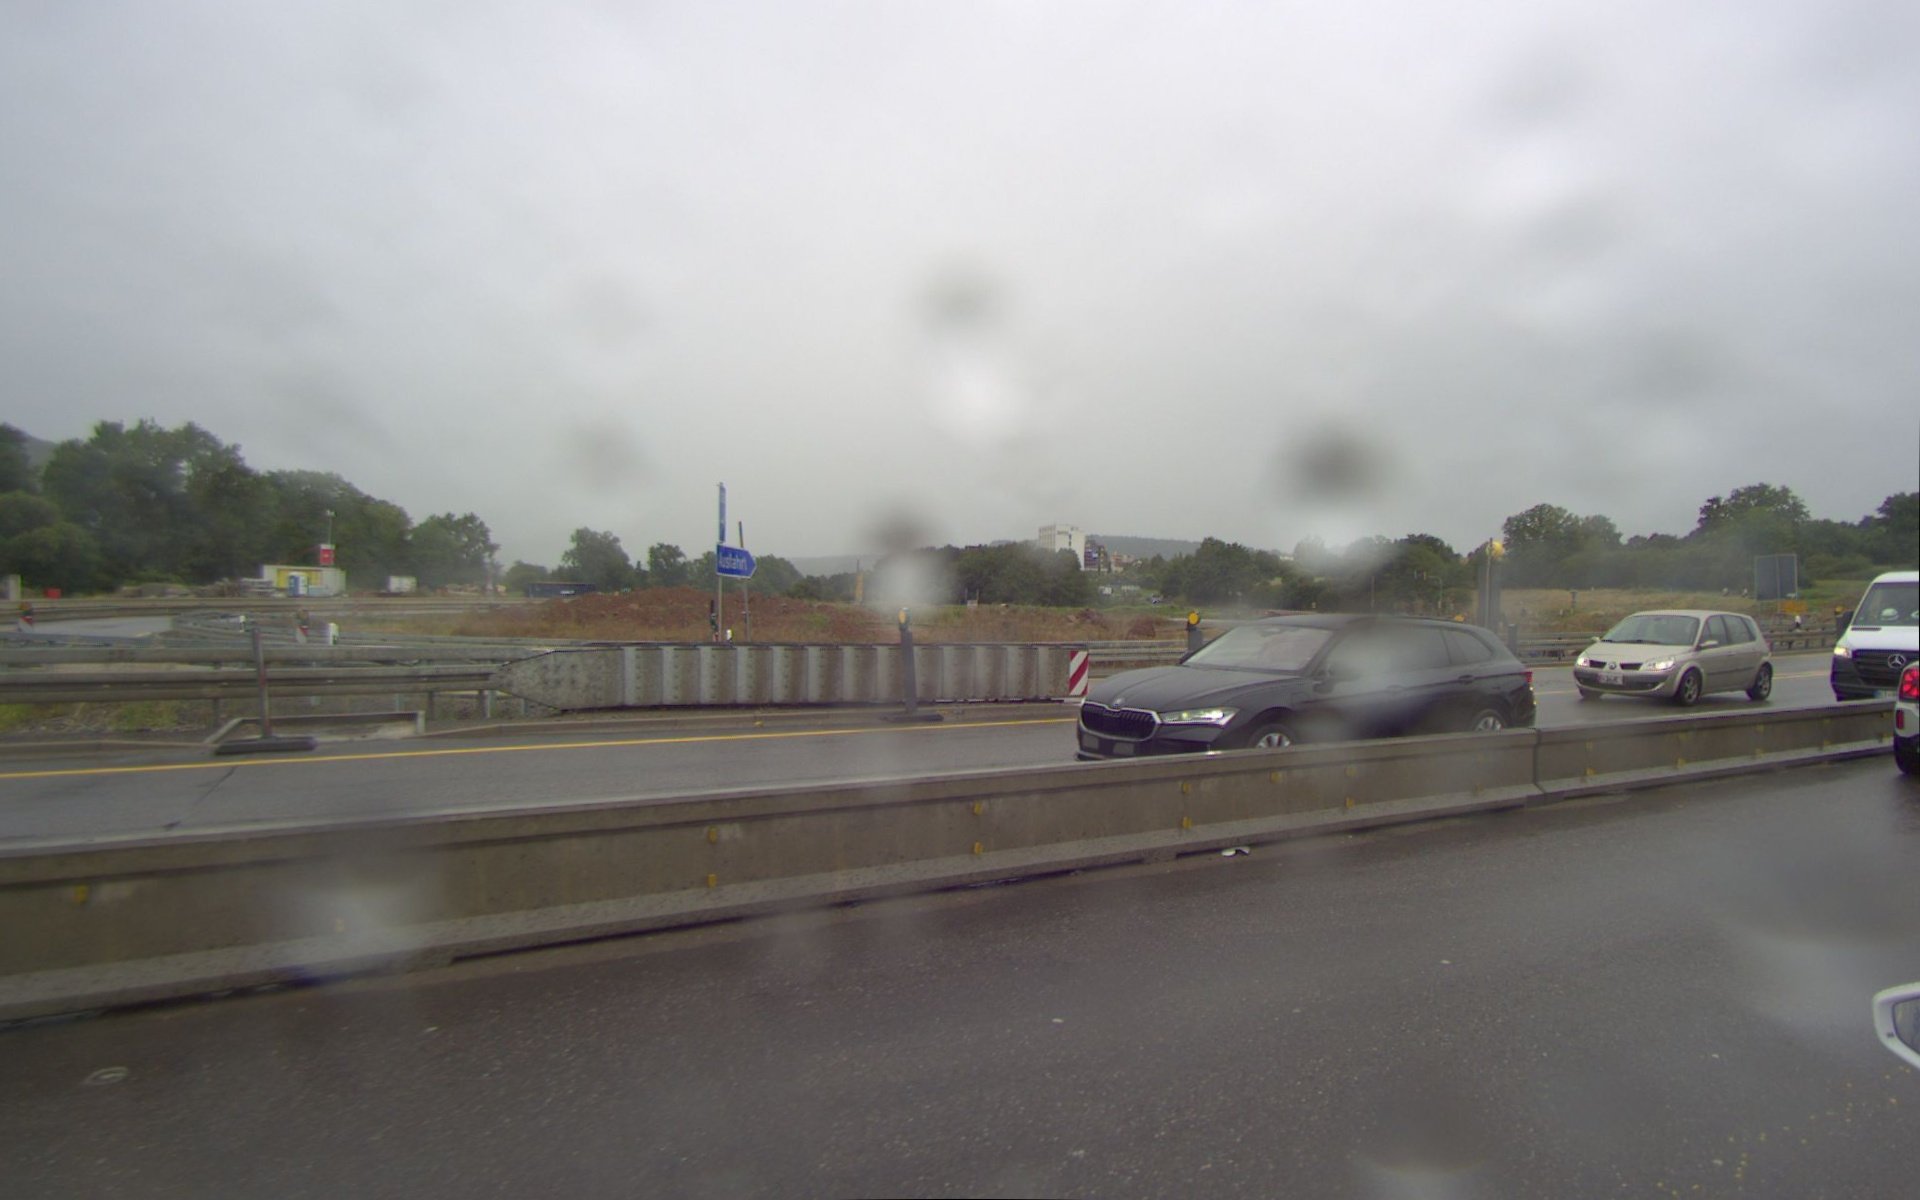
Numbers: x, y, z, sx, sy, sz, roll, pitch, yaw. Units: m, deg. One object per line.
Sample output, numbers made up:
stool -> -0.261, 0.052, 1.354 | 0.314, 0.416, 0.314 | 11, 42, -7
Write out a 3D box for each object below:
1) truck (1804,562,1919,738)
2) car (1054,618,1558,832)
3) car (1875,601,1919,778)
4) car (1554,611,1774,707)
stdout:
truck -> 16.589, 0.830, 16.675 | 5.892, 2.610, 2.069 | 2, -1, -30
car -> 3.257, 0.956, 9.152 | 4.624, 1.524, 1.764 | 1, -1, -30
car -> 10.895, 0.864, 9.756 | 4.258, 1.621, 1.807 | 1, -1, -31
car -> 12.761, 0.998, 18.174 | 3.953, 1.567, 1.779 | 1, 0, -30
